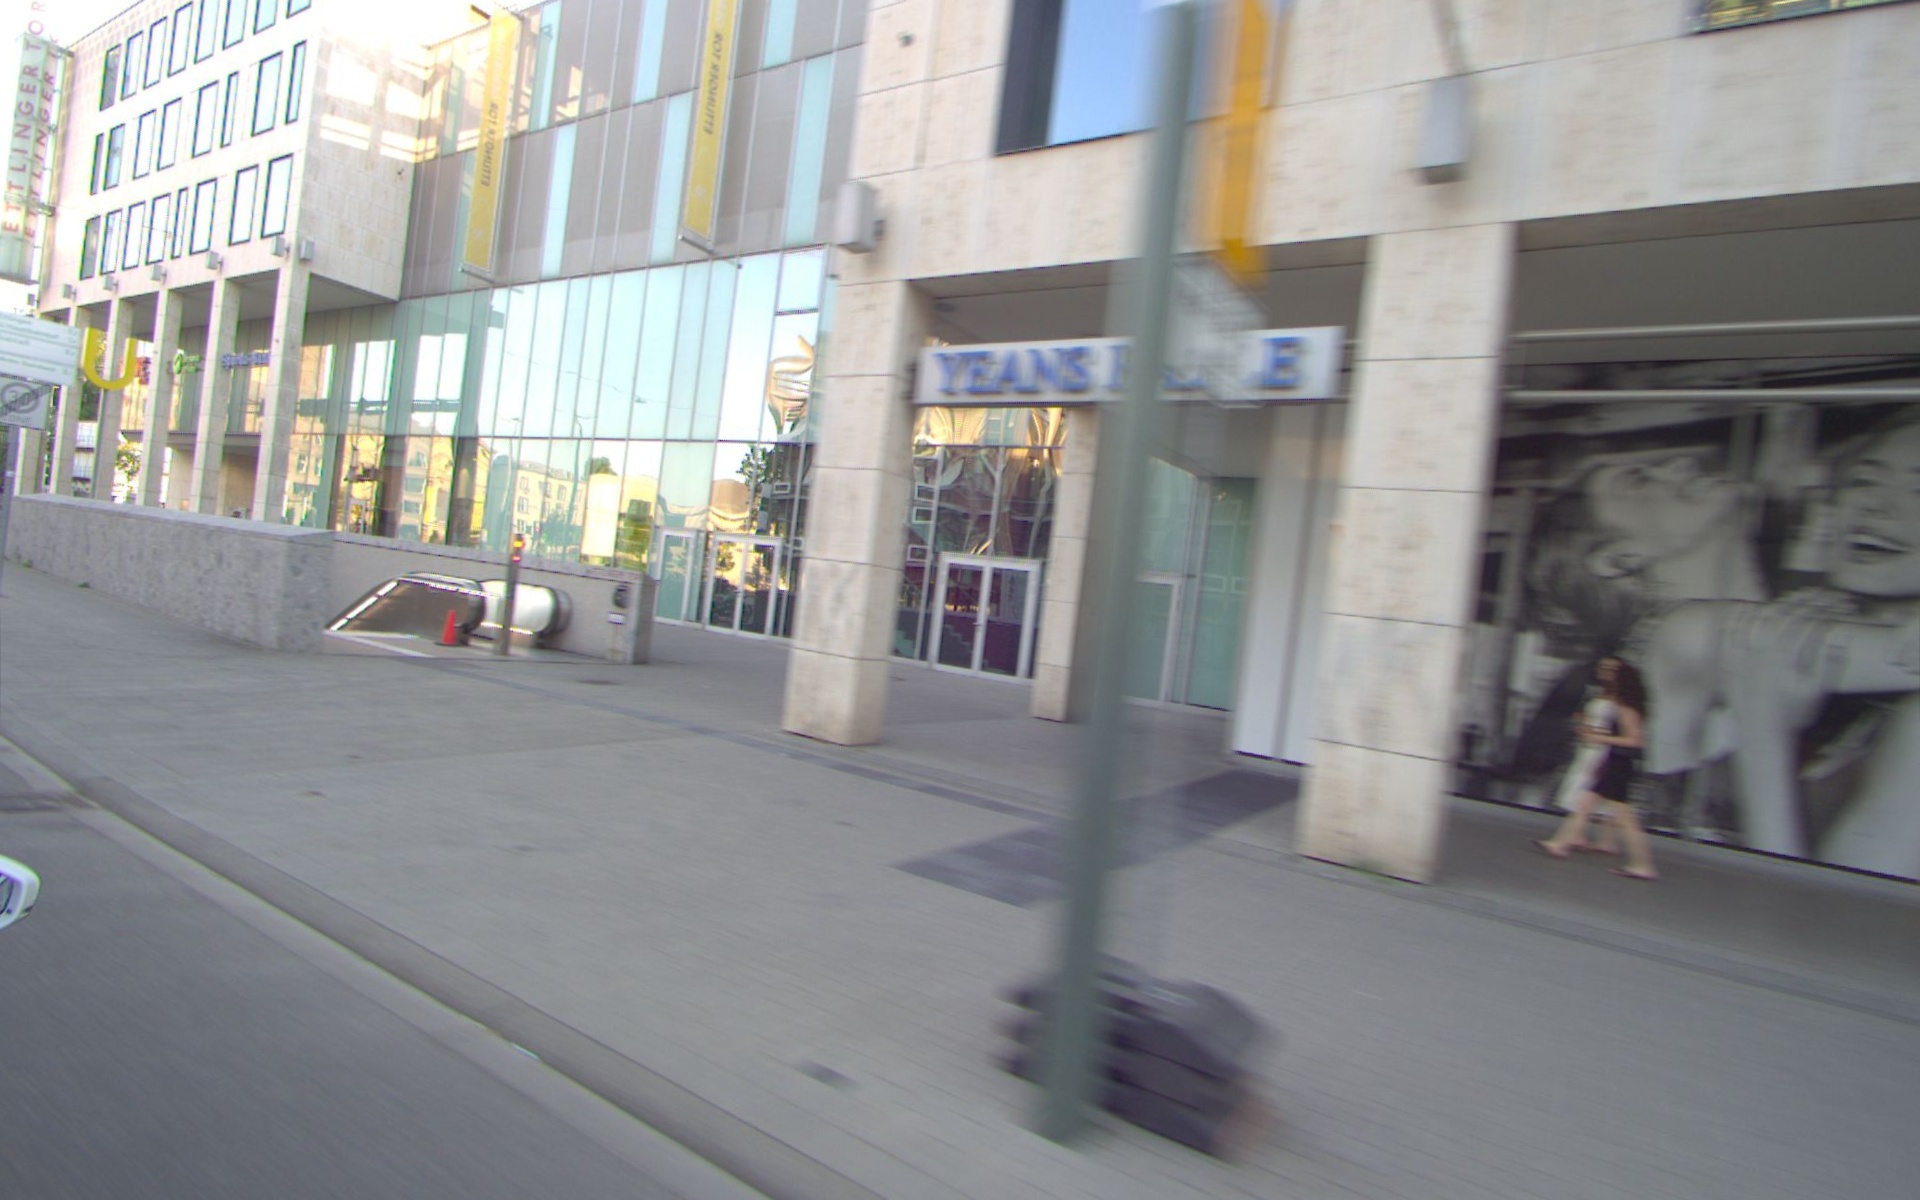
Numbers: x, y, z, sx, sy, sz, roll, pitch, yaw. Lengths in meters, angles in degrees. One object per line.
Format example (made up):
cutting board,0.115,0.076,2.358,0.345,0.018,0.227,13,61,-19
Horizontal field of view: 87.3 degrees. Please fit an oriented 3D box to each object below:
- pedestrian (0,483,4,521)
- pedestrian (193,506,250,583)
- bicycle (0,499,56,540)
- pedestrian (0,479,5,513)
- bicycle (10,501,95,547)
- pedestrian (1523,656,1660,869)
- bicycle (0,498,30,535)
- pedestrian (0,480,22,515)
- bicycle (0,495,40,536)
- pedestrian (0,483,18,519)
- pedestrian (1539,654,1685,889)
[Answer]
pedestrian,-45.899,-4.696,47.614,0.729,1.801,0.755,7,3,35
pedestrian,-18.192,-1.369,24.798,0.808,1.756,0.834,7,1,41
bicycle,-32.042,-2.785,34.132,0.562,1.126,1.873,7,-2,37
pedestrian,-51.319,-5.571,53.226,0.677,1.751,0.893,7,1,35
bicycle,-28.519,-2.381,31.637,0.592,1.112,1.816,7,-3,41
pedestrian,5.147,1.291,8.227,0.762,1.561,0.634,7,0,33
bicycle,-30.342,-2.688,31.321,0.562,1.060,1.897,7,0,38
pedestrian,-51.725,-5.556,54.647,0.677,1.751,0.893,7,1,36
bicycle,-33.499,-3.031,35.072,0.662,1.274,1.871,7,-2,32
pedestrian,-49.751,-5.164,52.290,0.677,1.751,0.893,7,0,34
pedestrian,4.856,1.237,7.523,0.717,1.561,0.725,7,0,33
